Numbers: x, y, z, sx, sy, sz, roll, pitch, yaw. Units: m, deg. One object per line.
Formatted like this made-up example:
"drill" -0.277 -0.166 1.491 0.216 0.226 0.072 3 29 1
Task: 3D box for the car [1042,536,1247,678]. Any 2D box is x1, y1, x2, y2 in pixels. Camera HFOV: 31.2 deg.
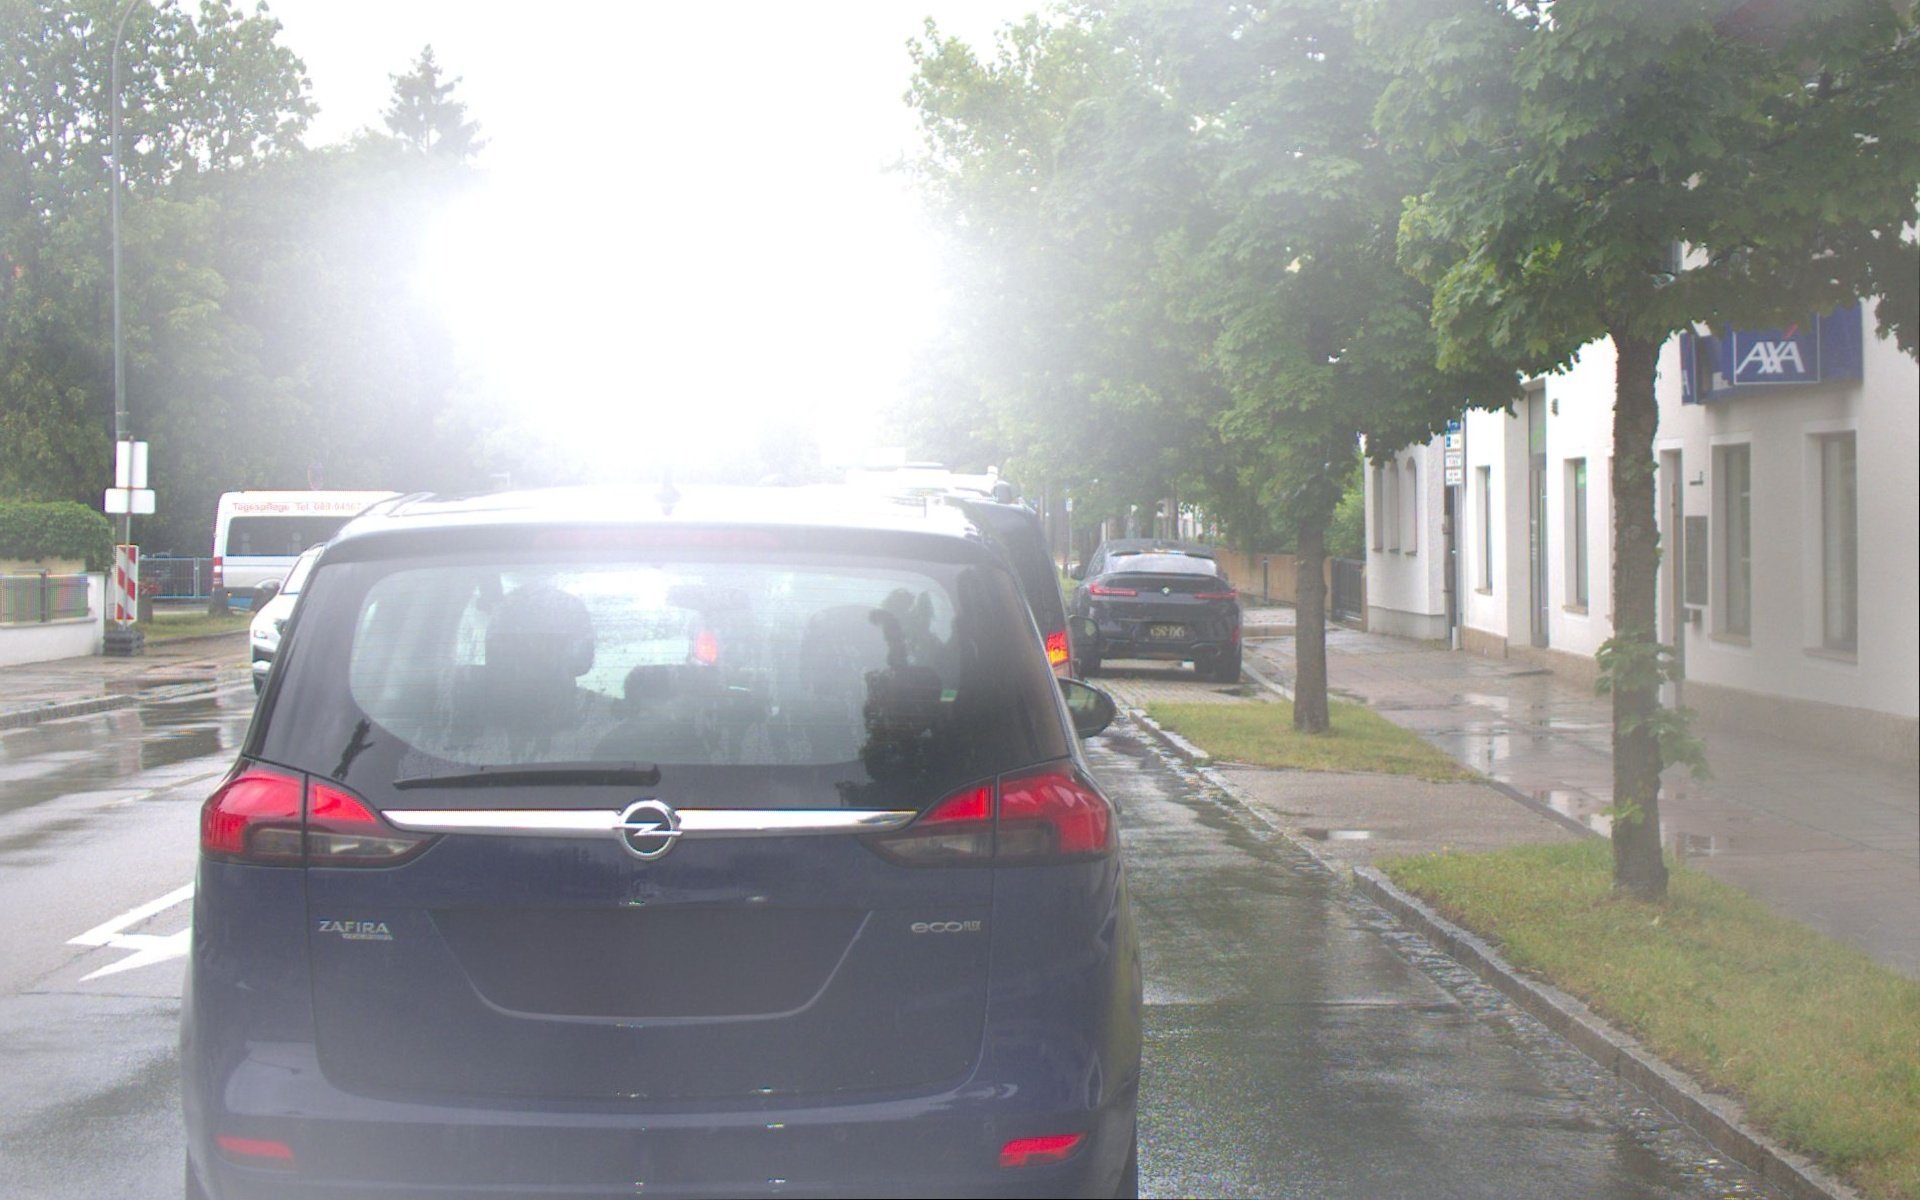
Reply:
"car" 2.141 0.057 40.968 2.117 1.576 3.936 1 1 -1

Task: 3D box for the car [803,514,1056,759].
"car" -0.229 0.225 25.925 1.756 1.700 3.619 -1 1 0

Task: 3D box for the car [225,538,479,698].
"car" -6.393 0.154 36.564 1.967 1.557 4.152 -1 1 -1

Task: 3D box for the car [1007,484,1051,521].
"car" 2.790 -3.924 138.801 1.630 1.373 3.623 -1 1 -1

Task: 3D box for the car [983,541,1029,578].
"car" 1.727 -1.520 129.625 1.630 1.373 3.623 1 0 -1

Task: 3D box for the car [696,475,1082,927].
"car" -0.295 0.375 15.209 1.500 1.770 3.112 1 1 -1

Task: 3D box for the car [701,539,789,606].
"car" -5.095 -0.674 81.943 1.752 1.506 4.230 -2 1 1

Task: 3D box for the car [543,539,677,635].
"car" -5.951 -0.255 58.853 1.926 1.561 4.126 -1 1 -1

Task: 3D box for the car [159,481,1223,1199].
"car" -0.473 0.584 7.619 1.768 1.599 3.663 1 1 -1

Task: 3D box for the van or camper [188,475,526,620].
"van or camper" -11.542 -1.024 66.202 6.247 2.698 2.101 -1 1 -5

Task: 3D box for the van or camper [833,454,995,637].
"van or camper" -0.694 -0.847 53.057 2.360 2.656 5.372 -1 1 0
